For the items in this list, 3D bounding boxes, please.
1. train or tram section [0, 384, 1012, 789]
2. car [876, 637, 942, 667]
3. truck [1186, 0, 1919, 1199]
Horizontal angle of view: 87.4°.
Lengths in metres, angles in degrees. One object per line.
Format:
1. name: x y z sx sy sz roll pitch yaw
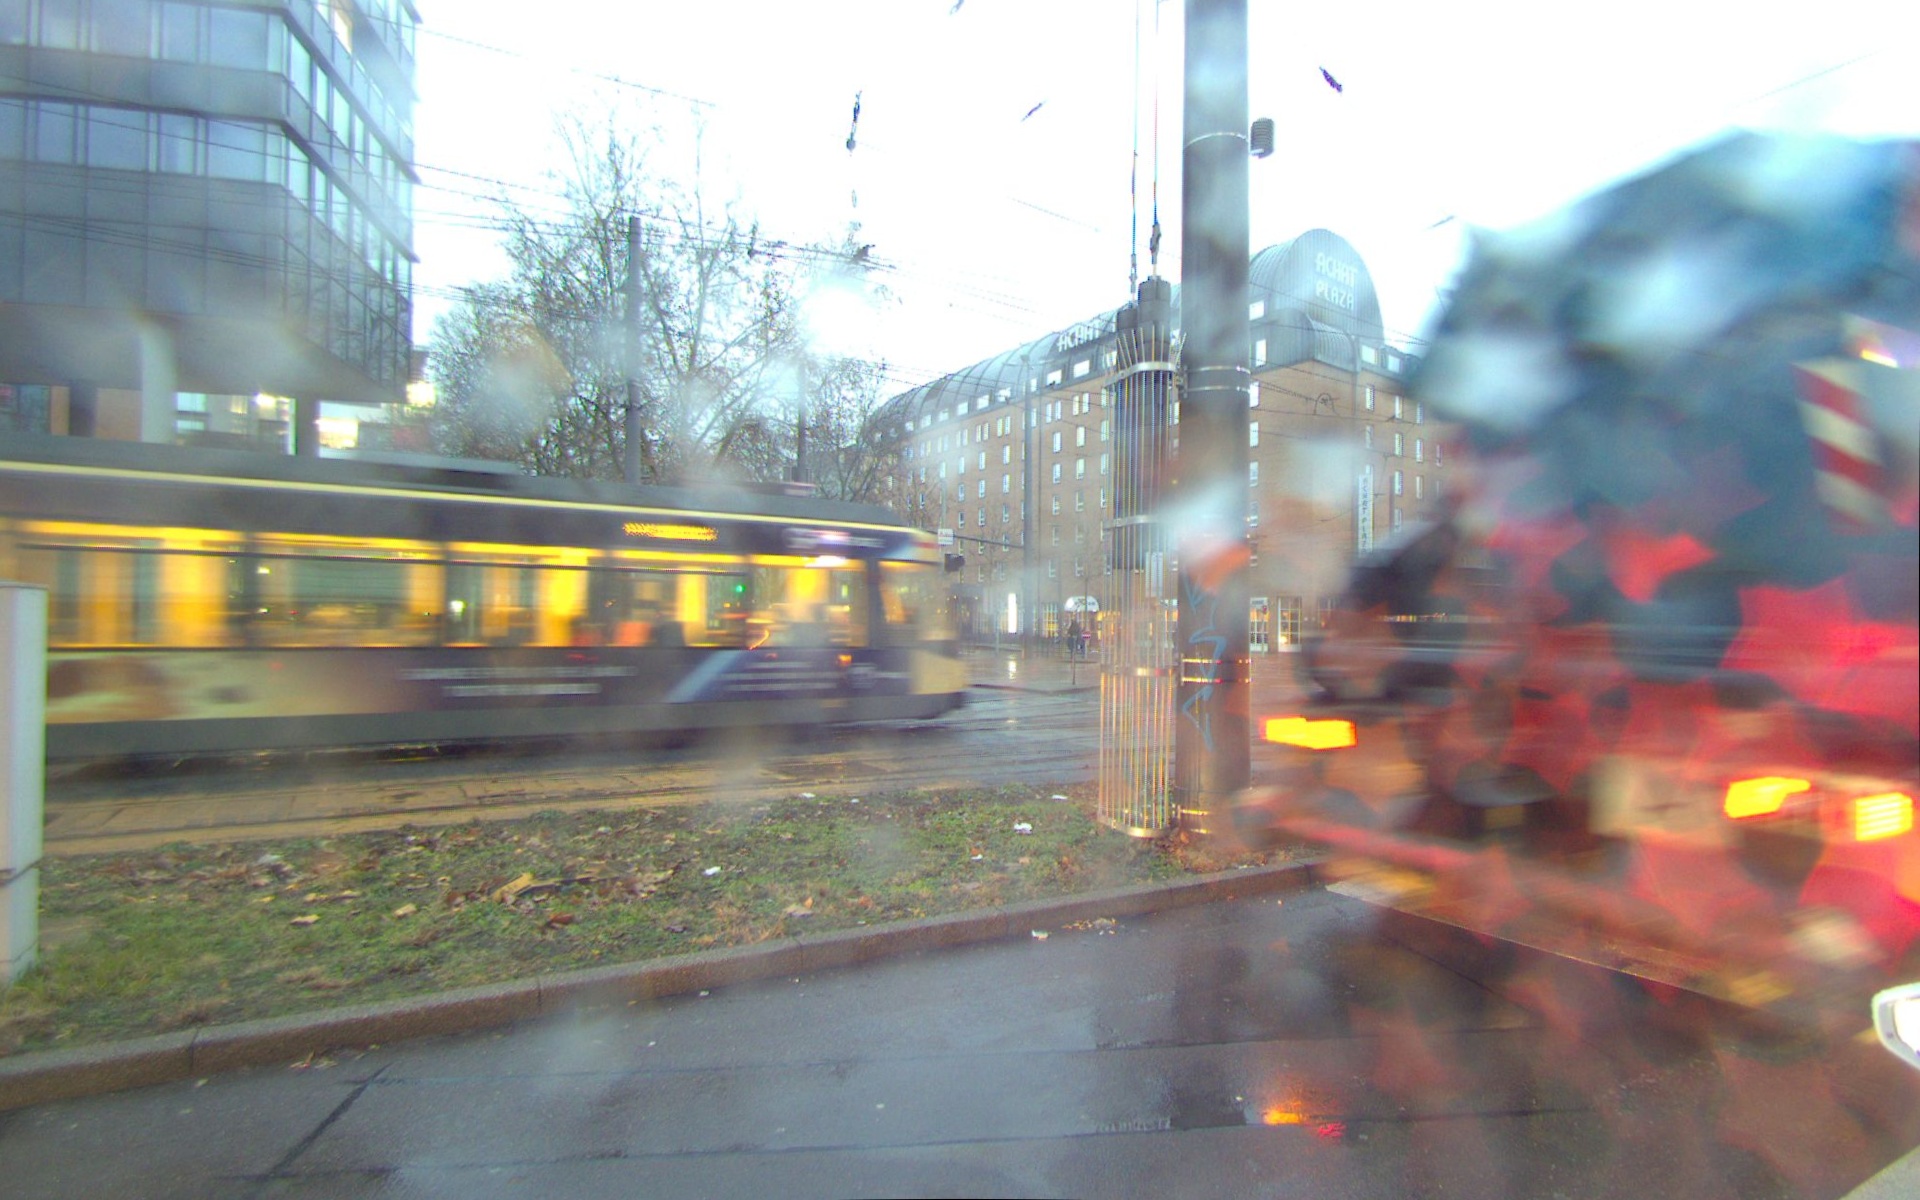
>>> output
1. train or tram section: -7.986 -0.056 11.211 19.002 3.662 2.849 2 -2 -32
2. car: -2.702 2.687 52.576 1.975 1.483 3.970 1 -2 -28
3. truck: 4.999 -0.095 5.625 7.441 3.681 2.825 1 -1 -31
